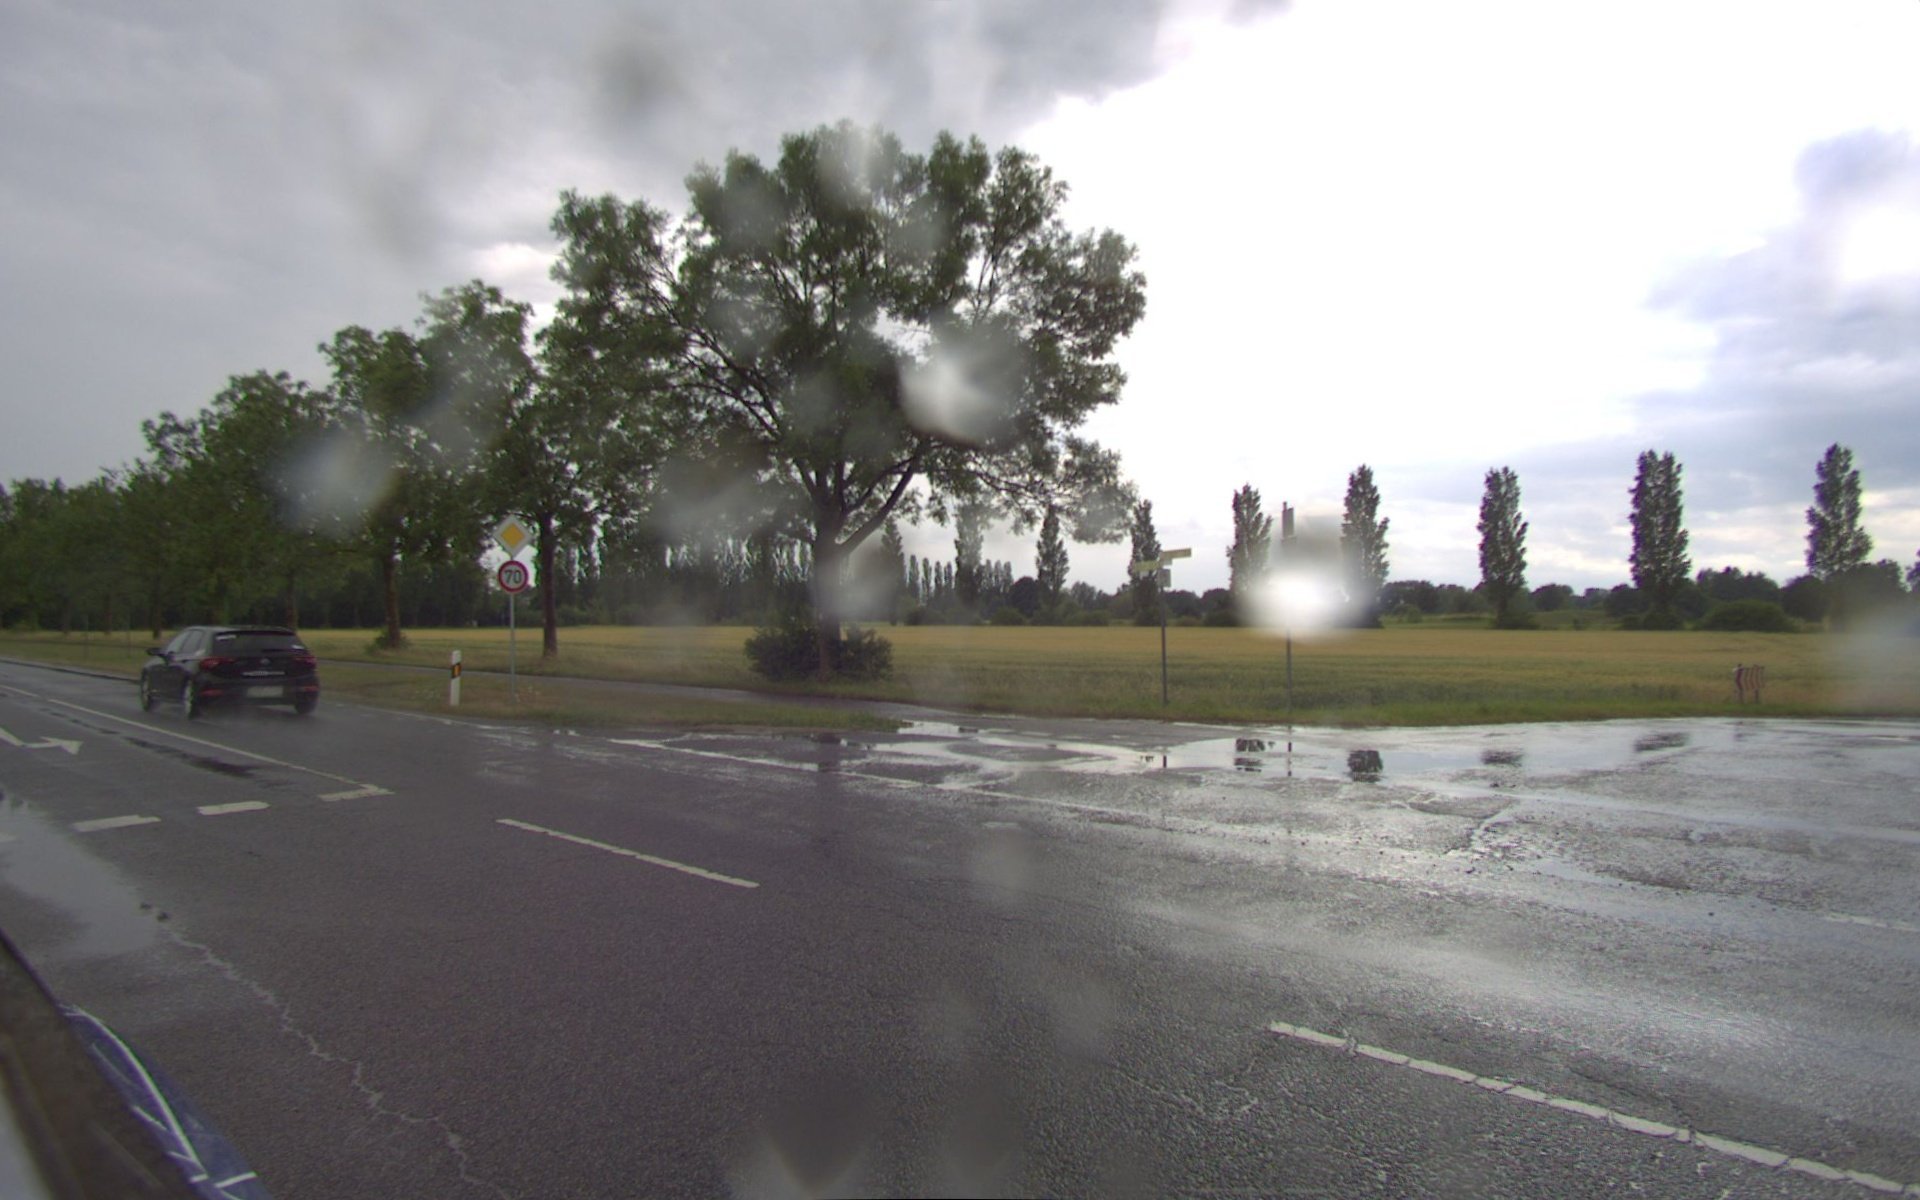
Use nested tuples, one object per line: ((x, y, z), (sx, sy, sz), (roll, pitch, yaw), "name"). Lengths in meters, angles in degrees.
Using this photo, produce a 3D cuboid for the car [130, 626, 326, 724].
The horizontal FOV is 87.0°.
((-11.961, 1.150, 16.464), (3.811, 1.416, 1.694), (-2, -3, 40), "car")
